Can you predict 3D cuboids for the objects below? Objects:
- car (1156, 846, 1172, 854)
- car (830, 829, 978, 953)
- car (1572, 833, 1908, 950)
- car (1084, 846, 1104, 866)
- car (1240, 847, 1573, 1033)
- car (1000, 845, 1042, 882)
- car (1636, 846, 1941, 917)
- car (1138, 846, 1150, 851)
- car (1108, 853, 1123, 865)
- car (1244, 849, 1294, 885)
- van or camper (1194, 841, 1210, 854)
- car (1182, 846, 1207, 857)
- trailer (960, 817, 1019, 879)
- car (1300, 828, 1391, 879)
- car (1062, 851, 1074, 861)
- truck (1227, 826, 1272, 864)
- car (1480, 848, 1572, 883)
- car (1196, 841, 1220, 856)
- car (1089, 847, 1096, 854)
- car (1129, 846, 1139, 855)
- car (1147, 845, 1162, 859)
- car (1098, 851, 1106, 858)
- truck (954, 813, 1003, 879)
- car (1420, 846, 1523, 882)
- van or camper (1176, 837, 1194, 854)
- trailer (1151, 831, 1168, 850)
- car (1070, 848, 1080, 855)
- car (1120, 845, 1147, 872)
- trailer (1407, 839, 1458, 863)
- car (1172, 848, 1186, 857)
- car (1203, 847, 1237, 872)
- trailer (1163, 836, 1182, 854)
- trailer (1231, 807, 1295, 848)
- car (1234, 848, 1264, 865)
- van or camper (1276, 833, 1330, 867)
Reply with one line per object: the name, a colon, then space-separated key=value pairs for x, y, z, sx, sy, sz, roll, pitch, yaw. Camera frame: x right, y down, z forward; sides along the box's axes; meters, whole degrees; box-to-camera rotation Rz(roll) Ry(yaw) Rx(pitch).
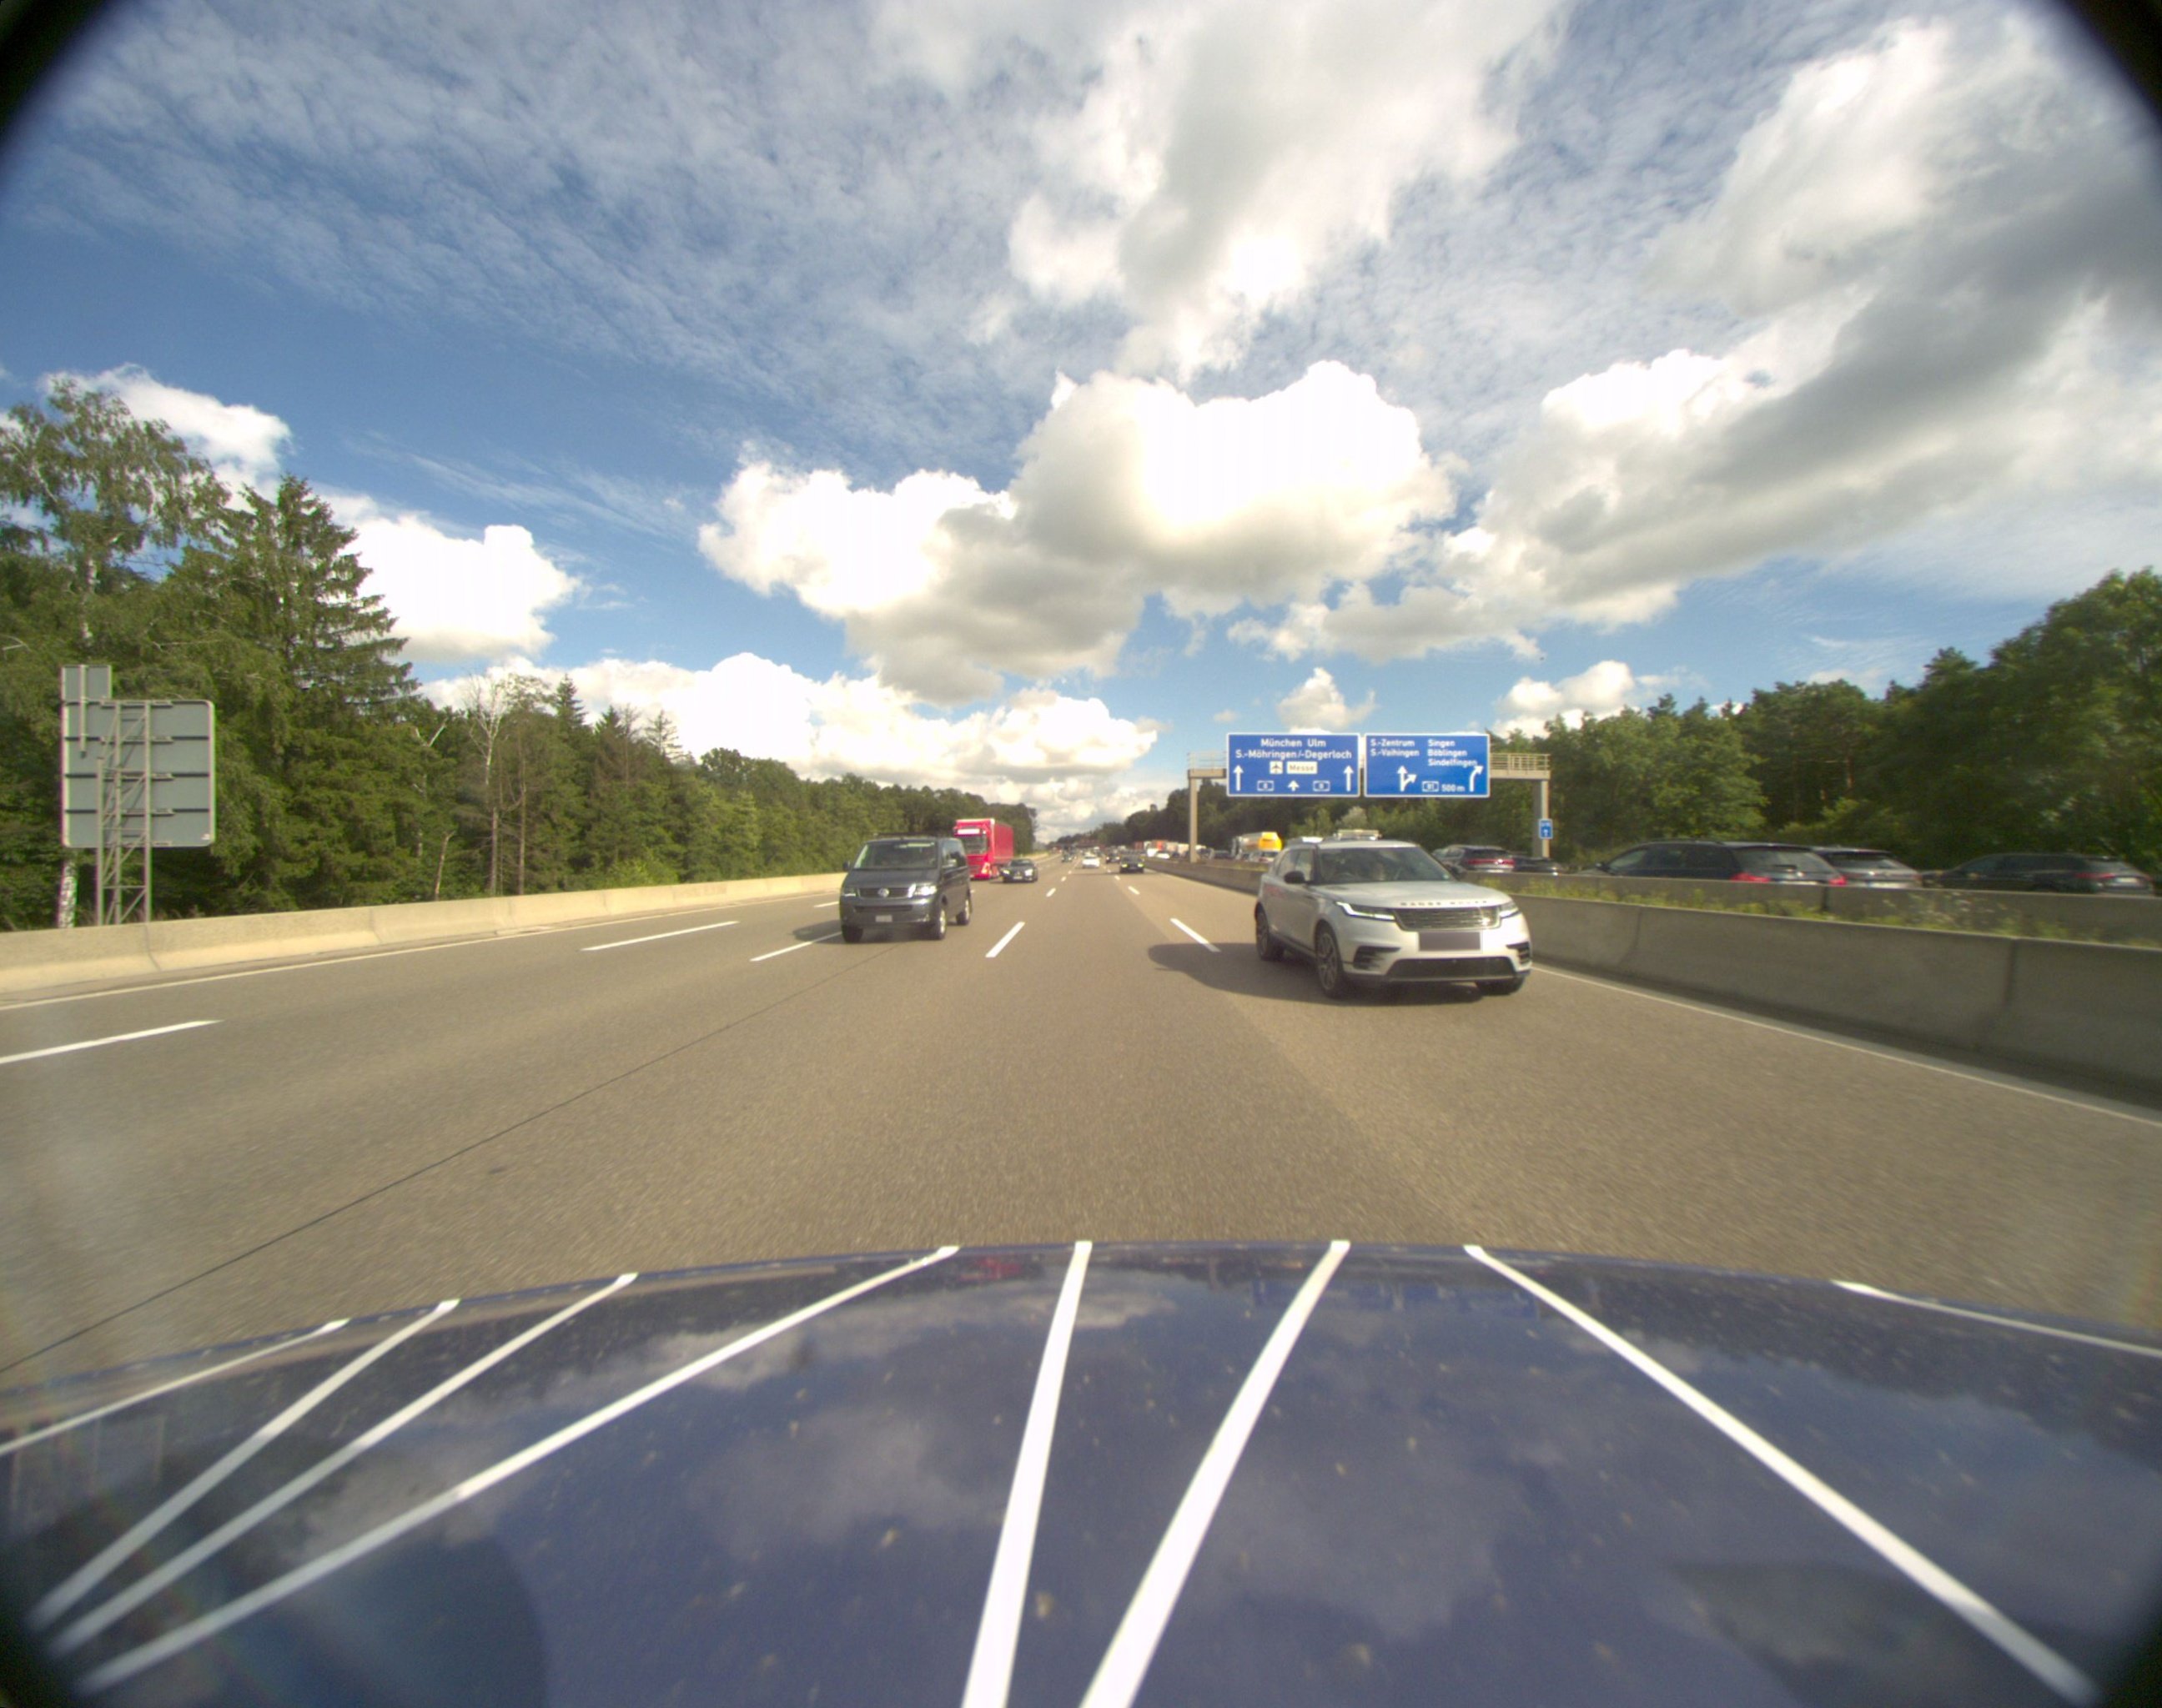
car: x=10.986 y=-0.558 z=101.206 sx=1.647 sy=0.934 sz=4.488 roll=-2 pitch=1 yaw=0
car: x=-3.466 y=0.655 z=15.923 sx=1.927 sy=2.153 sz=4.960 roll=-1 pitch=0 yaw=-1
car: x=9.756 y=0.486 z=11.762 sx=1.700 sy=1.364 sz=4.000 roll=-5 pitch=0 yaw=1
car: x=1.397 y=0.239 z=80.789 sx=1.998 sy=2.002 sz=4.000 roll=-3 pitch=0 yaw=2
car: x=3.408 y=0.751 z=9.270 sx=1.904 sy=1.597 sz=5.105 roll=-2 pitch=0 yaw=1
car: x=-3.482 y=0.513 z=44.912 sx=1.998 sy=2.002 sz=4.000 roll=-2 pitch=0 yaw=2
car: x=13.703 y=0.442 z=15.246 sx=1.644 sy=1.071 sz=4.883 roll=-2 pitch=1 yaw=1
car: x=10.841 y=-0.934 z=131.623 sx=1.651 sy=0.720 sz=4.446 roll=-2 pitch=1 yaw=0
car: x=4.826 y=0.676 z=107.790 sx=1.911 sy=1.582 sz=4.287 roll=-2 pitch=1 yaw=0
car: x=10.444 y=0.690 z=42.488 sx=1.804 sy=1.865 sz=3.950 roll=-2 pitch=1 yaw=1
van or camper: x=19.577 y=-1.024 z=123.210 sx=2.288 sy=2.000 sz=4.689 roll=-2 pitch=1 yaw=5
car: x=11.040 y=-0.268 z=74.214 sx=1.671 sy=0.922 sz=5.462 roll=-2 pitch=0 yaw=1
trailer: x=-6.757 y=-0.532 z=58.226 sx=2.531 sy=4.096 sz=14.375 roll=-1 pitch=1 yaw=1
car: x=10.188 y=-0.042 z=29.610 sx=2.092 sy=1.791 sz=4.179 roll=-2 pitch=0 yaw=1
car: x=-2.287 y=0.351 z=134.242 sx=1.911 sy=1.582 sz=4.286 roll=-2 pitch=1 yaw=-2
truck: x=18.735 y=-0.944 z=84.748 sx=3.425 sy=3.877 sz=6.801 roll=-3 pitch=0 yaw=0
car: x=21.362 y=0.528 z=36.695 sx=1.895 sy=1.490 sz=4.409 roll=-3 pitch=0 yaw=1
car: x=15.223 y=-0.686 z=91.203 sx=2.013 sy=1.646 sz=4.782 roll=-2 pitch=1 yaw=0
car: x=3.417 y=-0.969 z=232.711 sx=1.998 sy=2.002 sz=4.000 roll=-3 pitch=0 yaw=1
car: x=11.284 y=-0.794 z=161.117 sx=1.821 sy=1.754 sz=4.629 roll=-1 pitch=1 yaw=0
car: x=11.218 y=-0.367 z=116.533 sx=1.837 sy=2.050 sz=5.500 roll=0 pitch=1 yaw=0
car: x=5.325 y=0.104 z=193.905 sx=1.804 sy=1.783 sz=3.758 roll=-1 pitch=1 yaw=1
truck: x=-6.819 y=-0.517 z=51.140 sx=2.532 sy=4.178 sz=4.652 roll=-1 pitch=1 yaw=0
car: x=13.870 y=0.311 z=27.268 sx=1.568 sy=1.133 sz=4.163 roll=-2 pitch=1 yaw=1
van or camper: x=19.514 y=-1.635 z=142.945 sx=2.476 sy=2.873 sz=7.479 roll=-2 pitch=2 yaw=1
trailer: x=19.186 y=-3.288 z=186.149 sx=2.646 sy=4.295 sz=13.174 roll=-2 pitch=1 yaw=0
car: x=-1.328 y=-0.678 z=178.257 sx=1.912 sy=1.582 sz=4.285 roll=-2 pitch=1 yaw=-6
car: x=4.135 y=0.358 z=60.837 sx=1.919 sy=2.002 sz=4.000 roll=-3 pitch=0 yaw=2
trailer: x=25.882 y=-0.249 z=56.141 sx=1.830 sy=1.570 sz=4.348 roll=-2 pitch=1 yaw=1
car: x=15.555 y=-0.218 z=120.994 sx=1.667 sy=1.249 sz=3.590 roll=-2 pitch=0 yaw=0
car: x=10.761 y=0.373 z=59.196 sx=1.771 sy=1.788 sz=4.938 roll=-2 pitch=1 yaw=1
trailer: x=19.545 y=-1.805 z=162.869 sx=2.895 sy=3.637 sz=10.219 roll=-1 pitch=0 yaw=1
trailer: x=18.588 y=-2.552 z=78.806 sx=3.420 sy=3.806 sz=13.259 roll=-2 pitch=0 yaw=0
car: x=14.517 y=0.197 z=65.814 sx=1.567 sy=1.316 sz=4.536 roll=-2 pitch=1 yaw=1
van or camper: x=18.393 y=-0.376 z=63.392 sx=2.330 sy=2.628 sz=7.395 roll=-2 pitch=1 yaw=1
